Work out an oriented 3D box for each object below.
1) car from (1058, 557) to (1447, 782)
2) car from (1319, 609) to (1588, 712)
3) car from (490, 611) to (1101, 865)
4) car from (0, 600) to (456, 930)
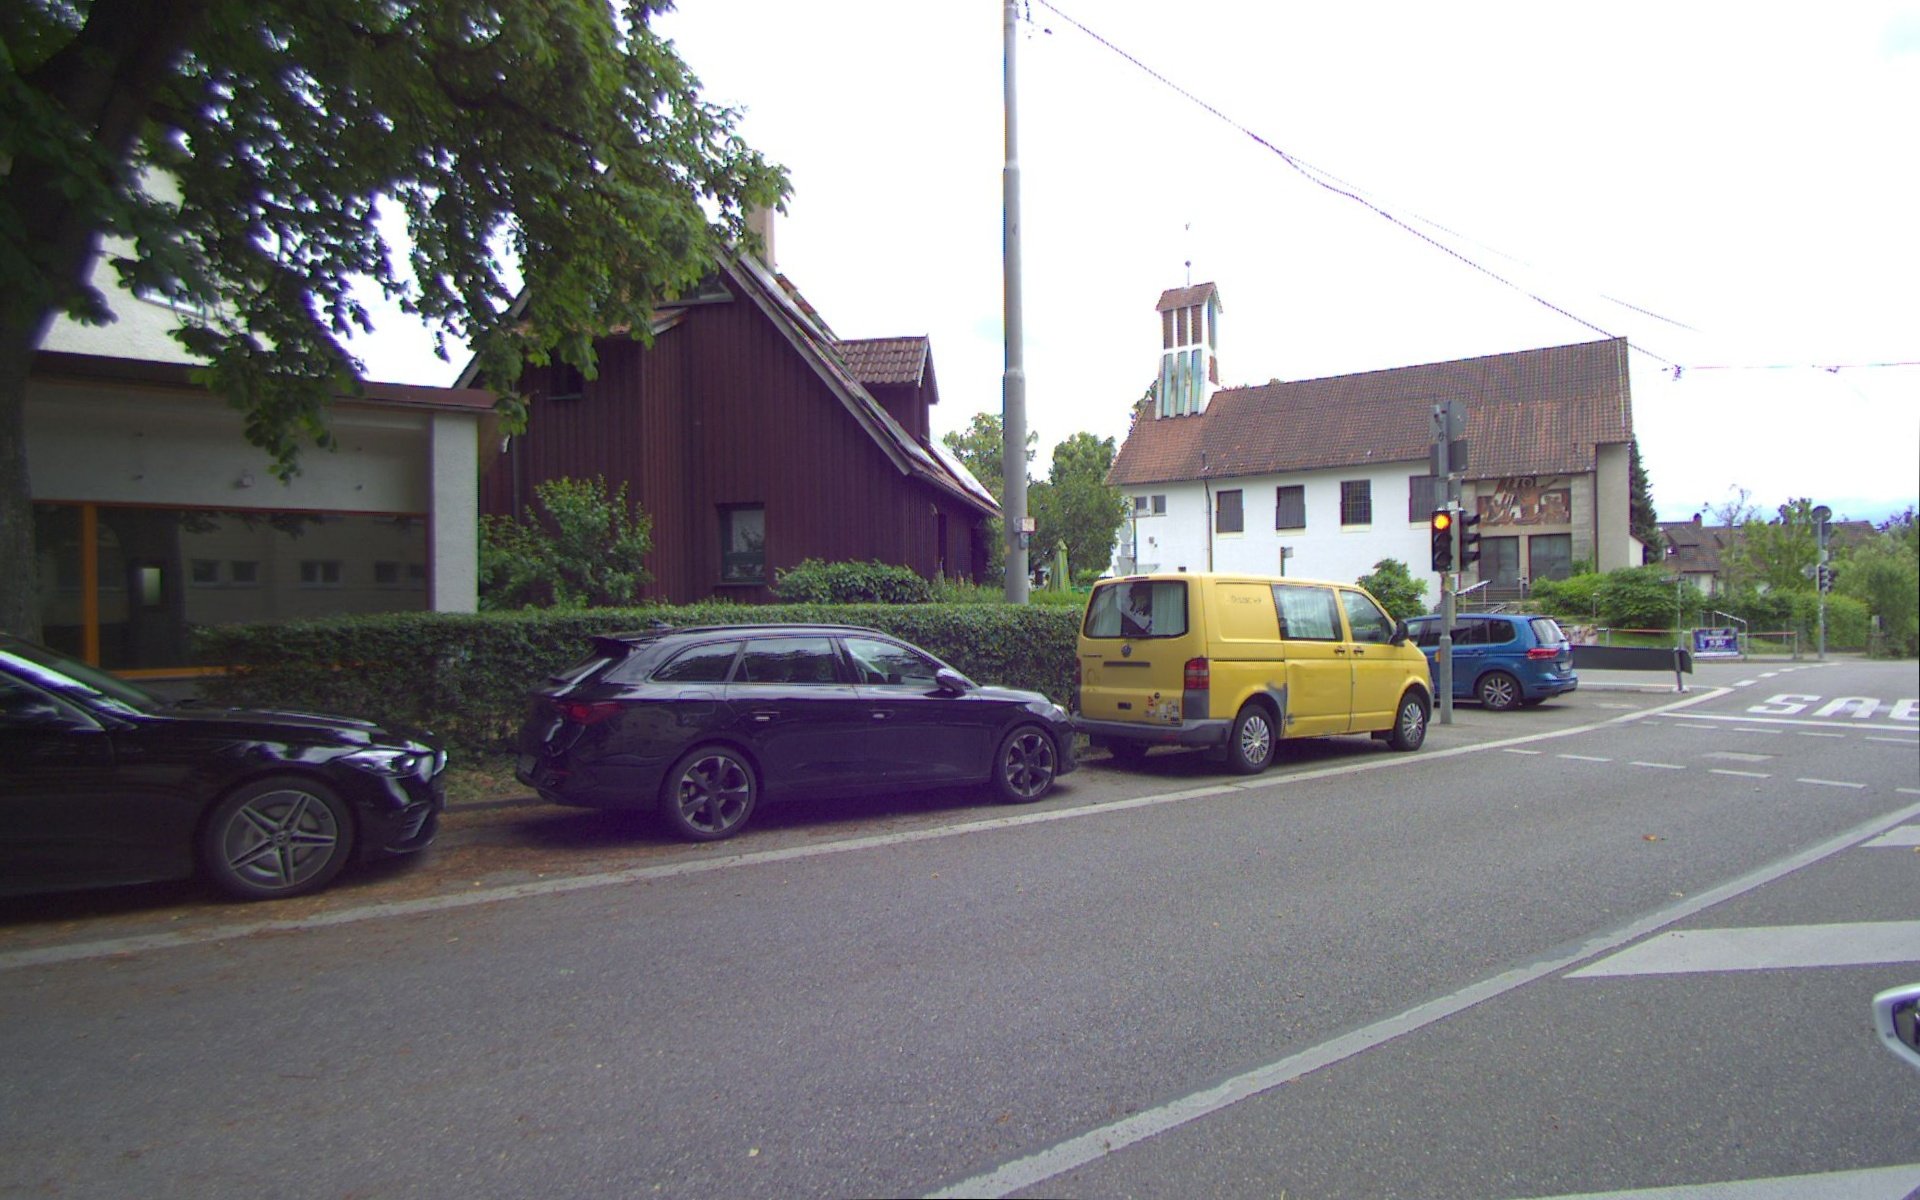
[{"bbox_3d":[3.387,0.685,11.247,4.524,2.040,1.870,1,-2,-37],"label":"car"},{"bbox_3d":[8.714,1.049,17.948,1.806,1.632,3.948,1,-3,-45],"label":"car"},{"bbox_3d":[-1.132,0.872,7.936,4.495,1.505,1.681,1,-2,-34],"label":"car"},{"bbox_3d":[-5.266,0.782,5.285,4.561,1.520,1.984,1,-2,-31],"label":"car"}]
